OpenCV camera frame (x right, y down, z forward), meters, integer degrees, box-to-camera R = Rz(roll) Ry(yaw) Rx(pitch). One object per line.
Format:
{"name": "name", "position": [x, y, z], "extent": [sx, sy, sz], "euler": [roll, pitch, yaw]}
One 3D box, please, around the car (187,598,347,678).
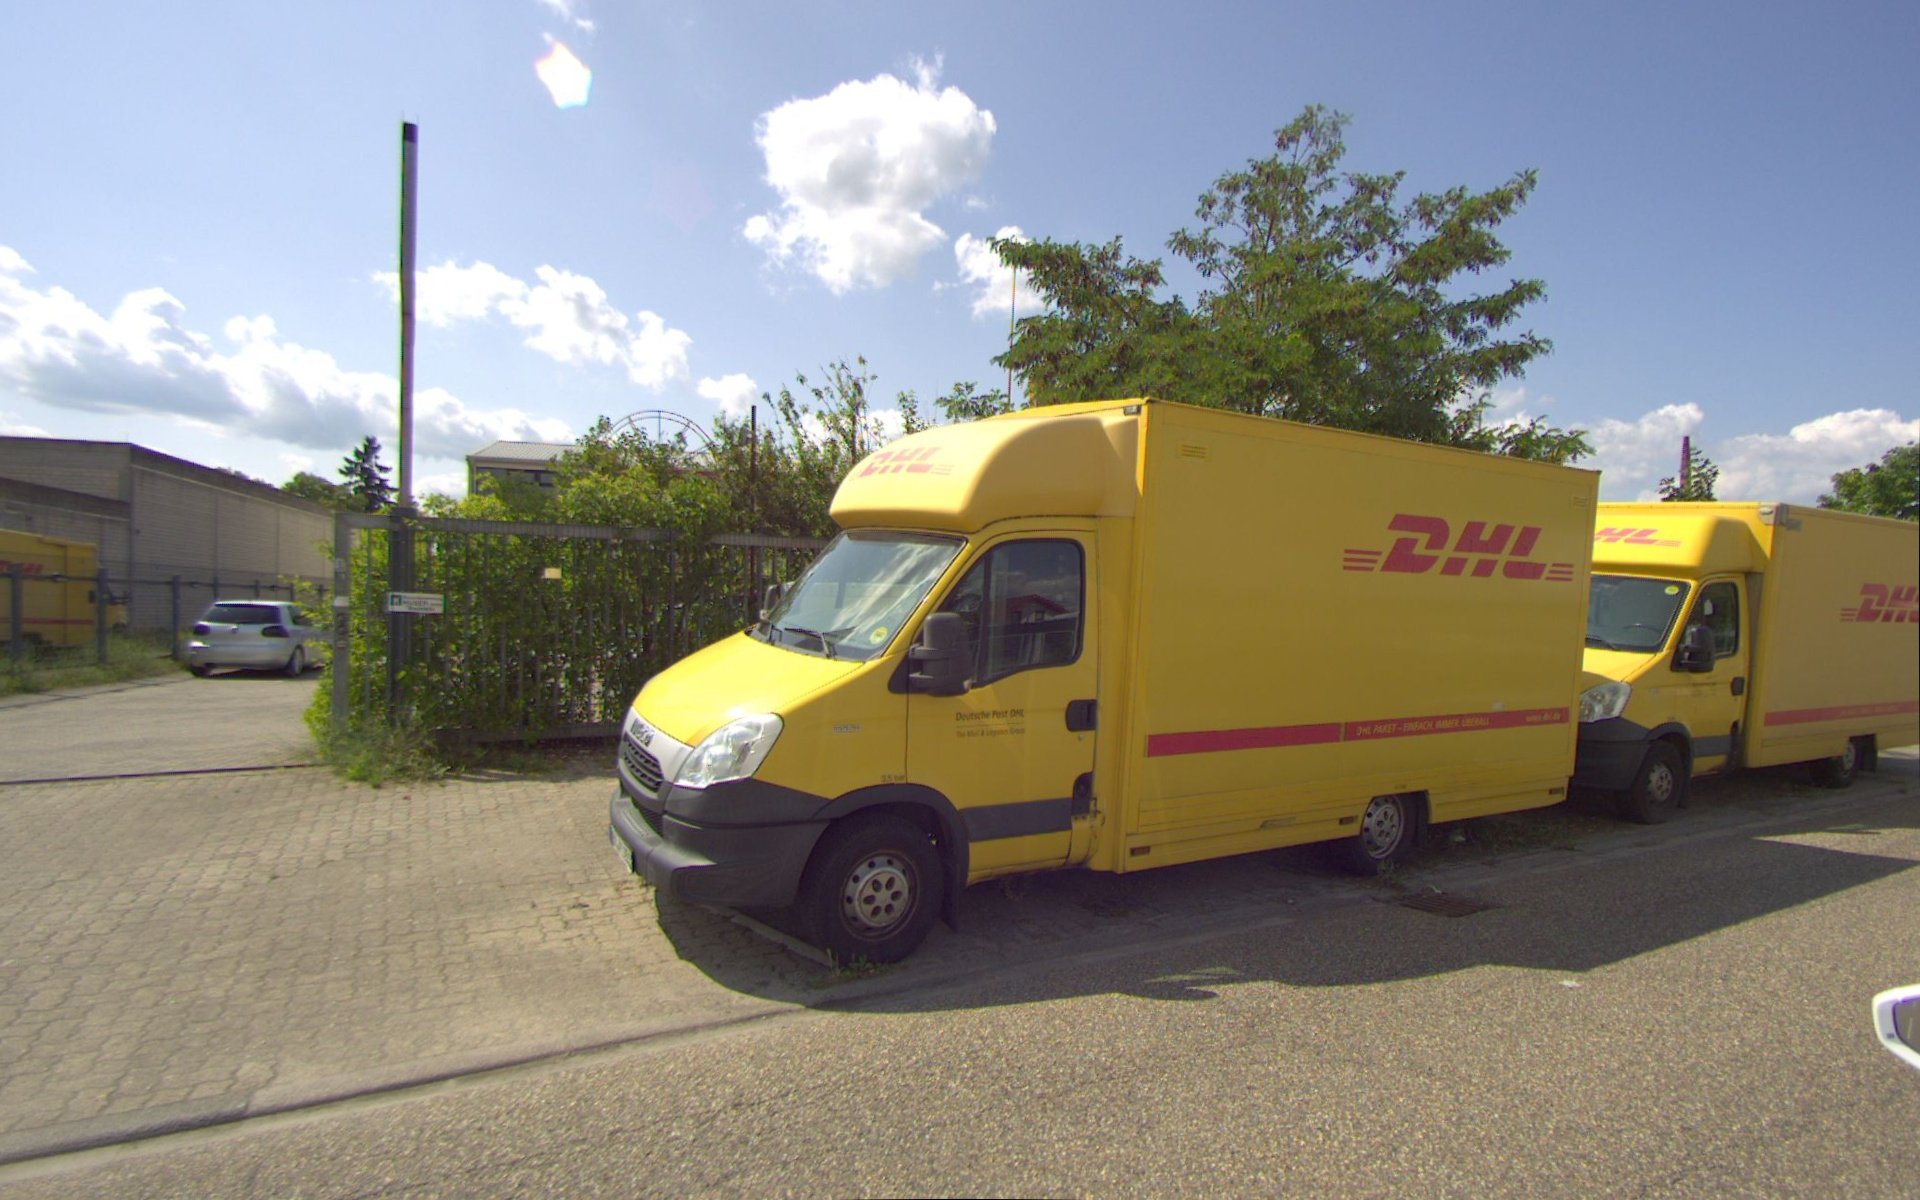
{"name": "car", "position": [-13.974, 0.731, 20.513], "extent": [1.833, 1.408, 3.978], "euler": [3, -2, -23]}

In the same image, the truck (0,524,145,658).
{"name": "truck", "position": [-21.777, -0.160, 23.080], "extent": [2.286, 2.802, 6.417], "euler": [1, -1, -16]}

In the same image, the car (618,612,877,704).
{"name": "car", "position": [-3.347, 0.871, 15.966], "extent": [3.804, 1.322, 1.810], "euler": [0, -1, -15]}

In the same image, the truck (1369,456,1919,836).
{"name": "truck", "position": [7.596, 0.379, 10.416], "extent": [7.020, 2.901, 2.305], "euler": [1, 2, -30]}

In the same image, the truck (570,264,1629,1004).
{"name": "truck", "position": [1.365, 0.223, 6.715], "extent": [7.091, 2.893, 2.258], "euler": [2, 0, -31]}
